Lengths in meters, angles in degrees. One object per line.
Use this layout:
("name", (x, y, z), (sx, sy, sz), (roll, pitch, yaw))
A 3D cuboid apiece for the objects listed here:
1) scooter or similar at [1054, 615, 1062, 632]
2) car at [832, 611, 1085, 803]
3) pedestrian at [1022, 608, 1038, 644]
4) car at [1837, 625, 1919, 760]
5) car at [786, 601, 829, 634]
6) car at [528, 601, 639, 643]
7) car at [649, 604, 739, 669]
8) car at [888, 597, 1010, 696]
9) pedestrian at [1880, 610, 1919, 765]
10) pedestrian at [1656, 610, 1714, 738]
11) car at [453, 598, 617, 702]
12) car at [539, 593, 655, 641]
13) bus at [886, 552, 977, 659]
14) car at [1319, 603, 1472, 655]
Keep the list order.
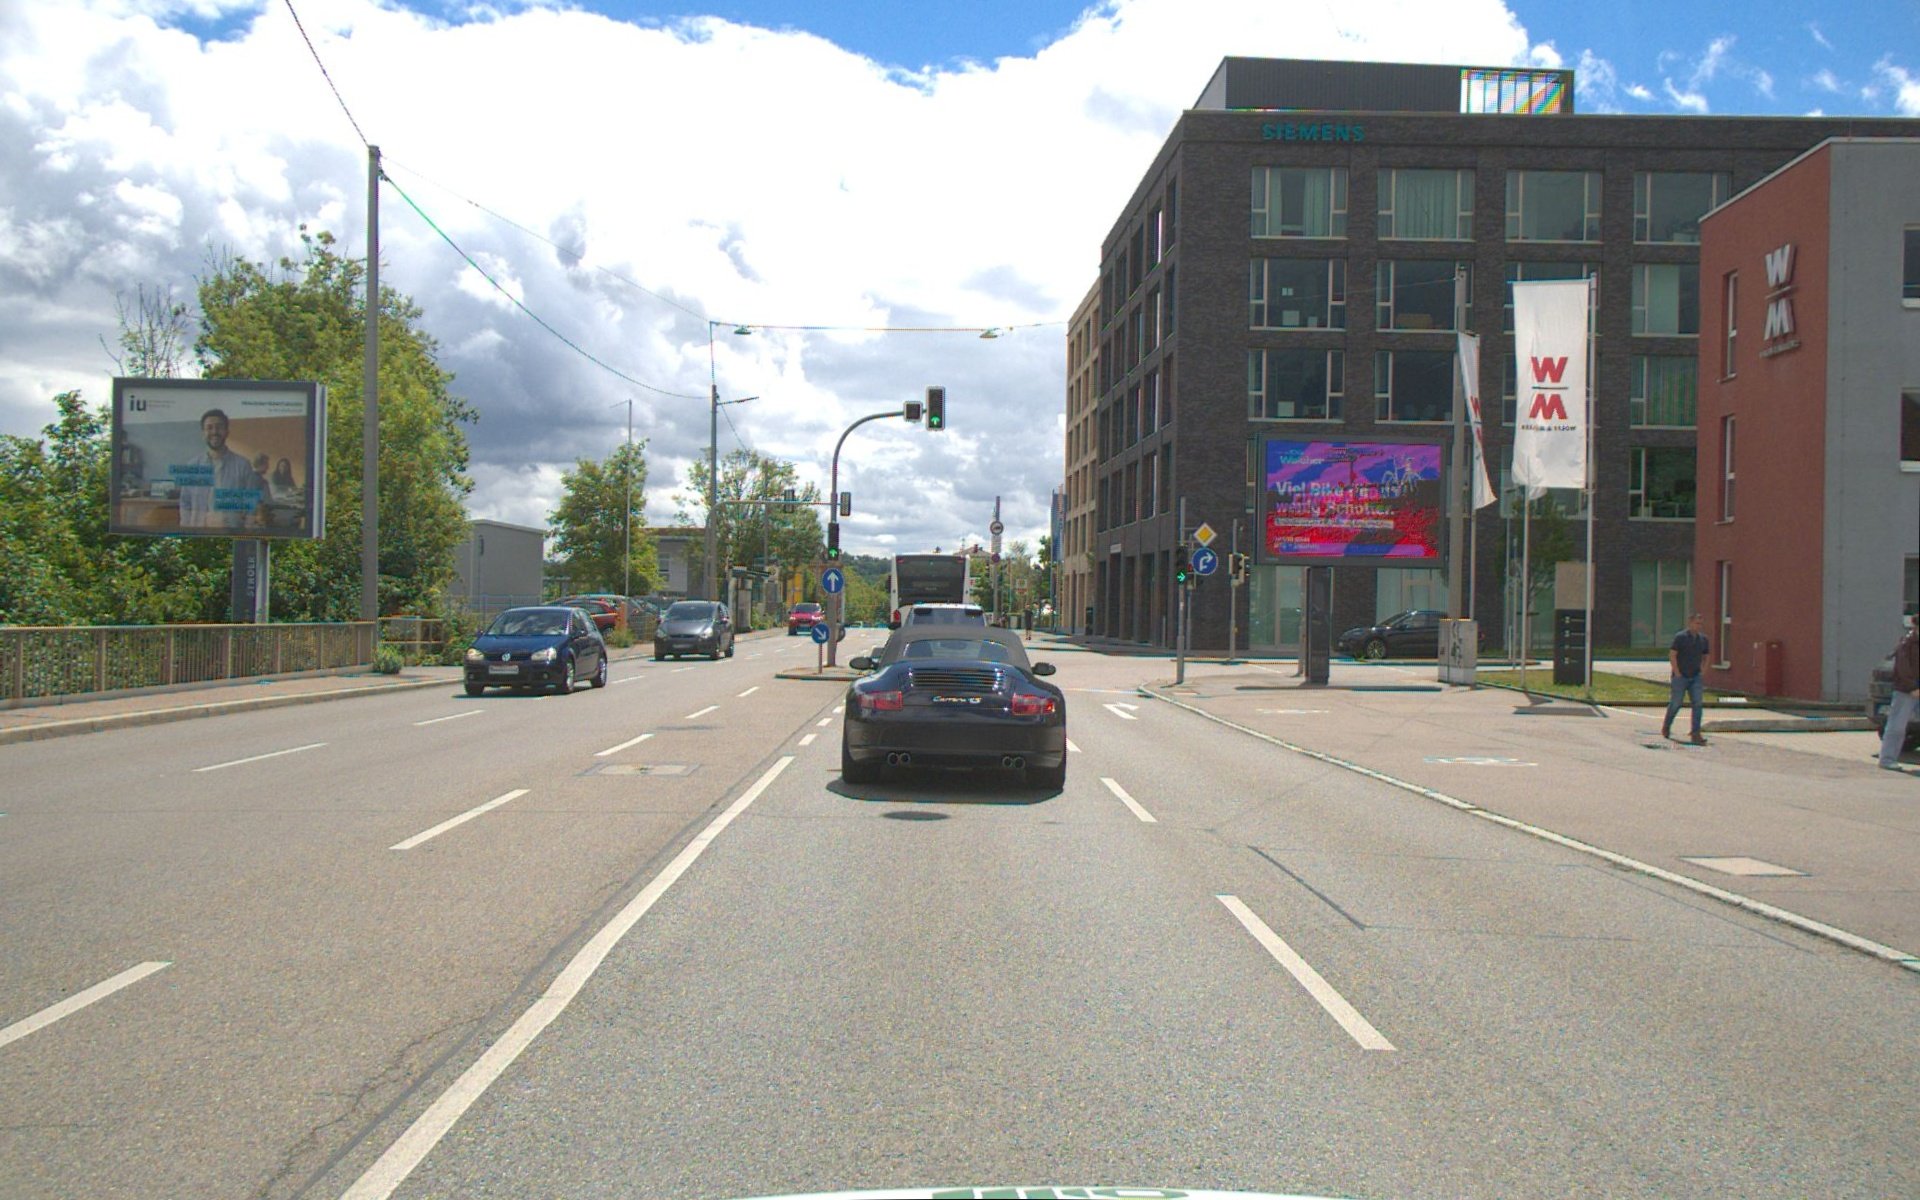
("scooter or similar", (6.769, 1.639, 114.173), (0.418, 1.173, 1.403), (0, -1, -2))
("car", (-0.041, 0.828, 14.651), (1.891, 1.401, 4.207), (1, 0, -1))
("pedestrian", (3.494, 1.285, 82.619), (0.669, 1.758, 0.961), (2, 0, -2))
("car", (12.900, 1.011, 19.989), (3.591, 1.512, 1.762), (-3, -1, 1))
("car", (-7.752, 0.880, 84.247), (1.803, 1.624, 3.999), (1, 0, -1))
("car", (-13.484, 0.775, 59.442), (3.782, 1.444, 1.898), (1, 0, -11))
("car", (-7.578, 1.013, 47.550), (1.873, 1.732, 4.624), (1, 0, -1))
("car", (-0.268, 0.783, 29.594), (1.892, 1.611, 4.204), (1, 0, -4))
("pedestrian", (10.904, 0.986, 18.785), (0.734, 1.737, 0.570), (1, 0, 26))
("pedestrian", (10.061, 1.009, 22.941), (0.698, 1.737, 0.630), (1, 0, 26))
("car", (-7.228, 0.802, 28.537), (1.818, 1.646, 3.999), (1, 0, -1))
("car", (-13.622, 0.646, 62.218), (4.023, 1.765, 1.997), (0, 0, -6))
("bus", (-0.927, 0.186, 57.204), (2.745, 3.254, 12.193), (1, 0, 0))
("car", (14.501, 0.950, 55.228), (4.546, 1.647, 1.999), (1, 0, -2))
